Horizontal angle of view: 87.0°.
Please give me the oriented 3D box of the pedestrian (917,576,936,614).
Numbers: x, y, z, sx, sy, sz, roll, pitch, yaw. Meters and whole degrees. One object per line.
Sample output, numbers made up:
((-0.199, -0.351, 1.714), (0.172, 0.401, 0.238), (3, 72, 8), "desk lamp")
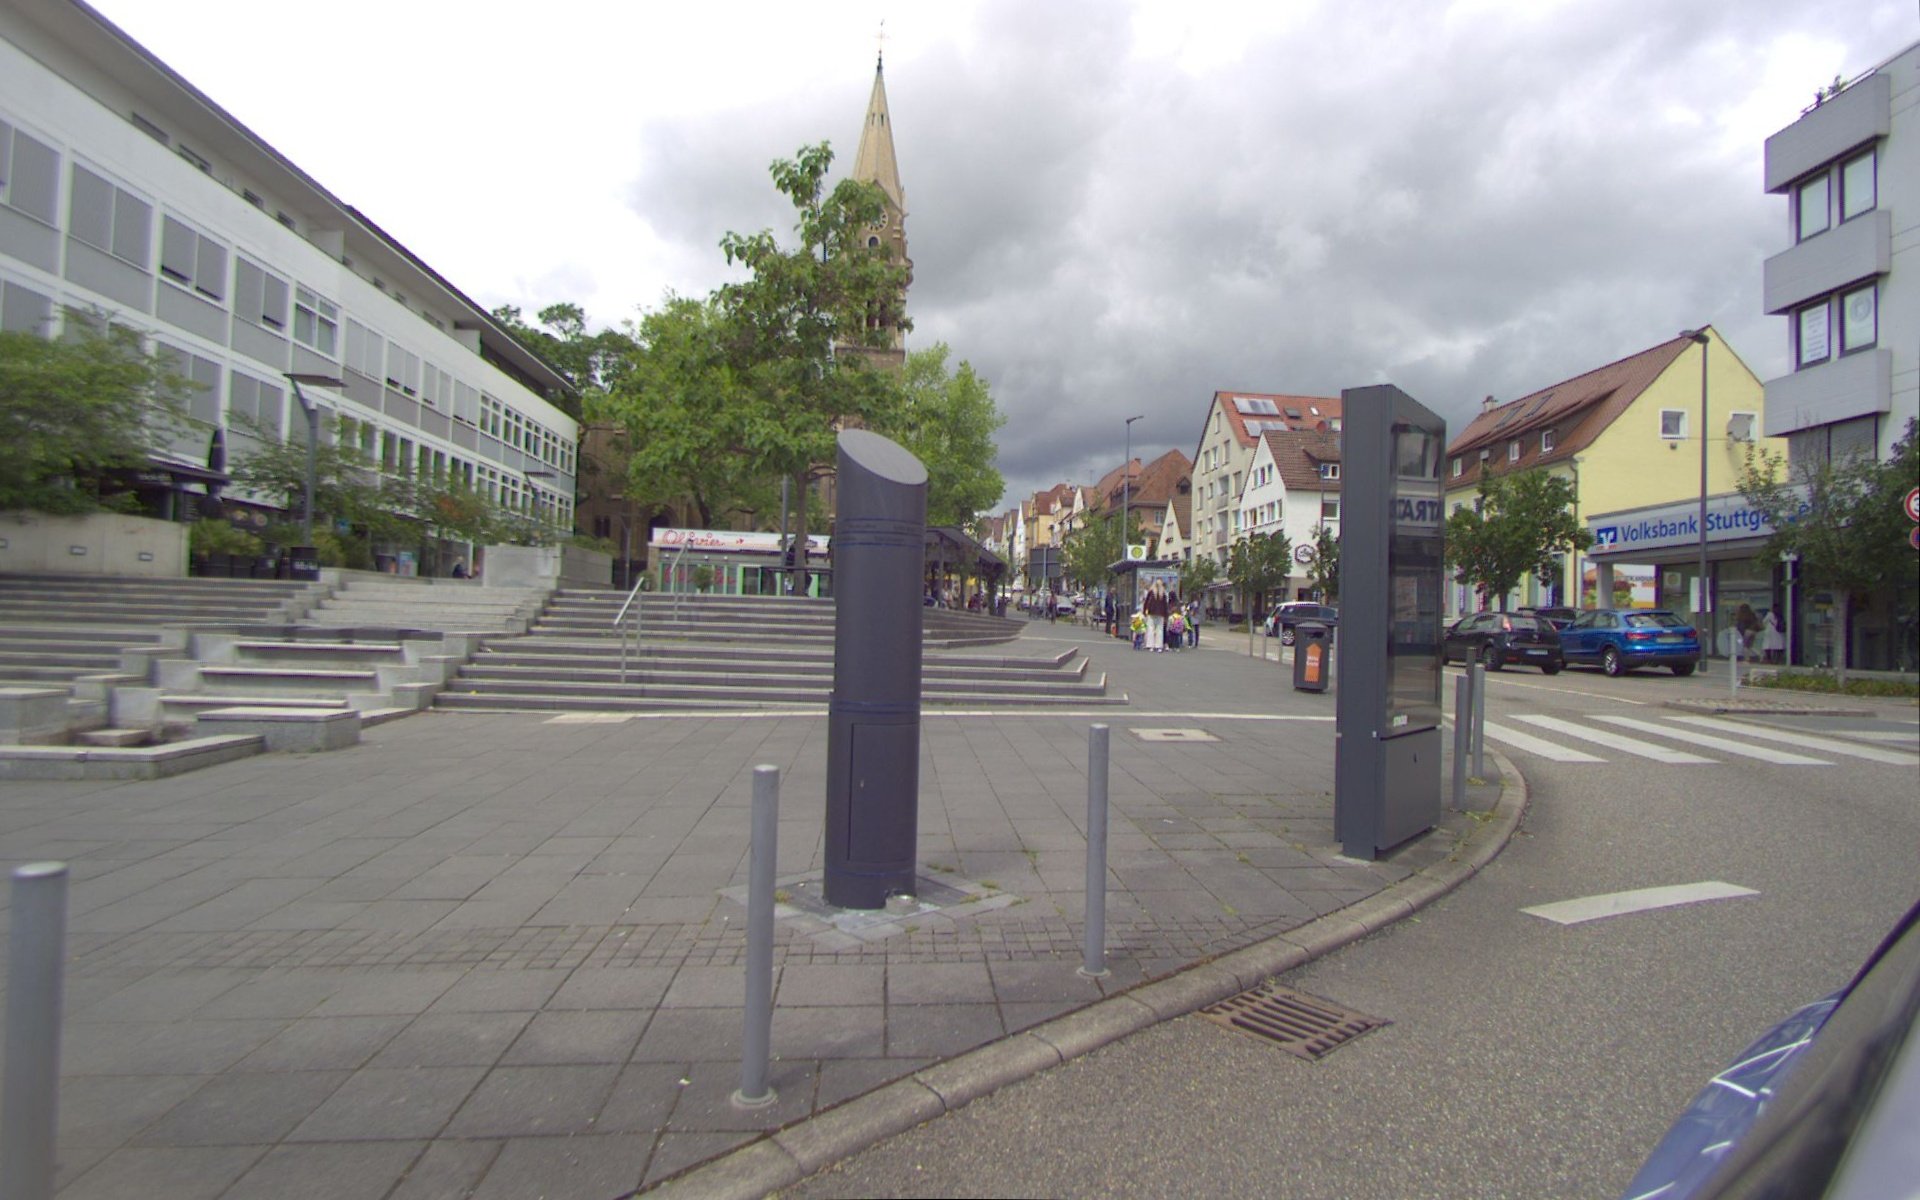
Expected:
((-1.173, -0.179, 35.796), (0.560, 1.340, 0.543), (1, -1, 11), "pedestrian")

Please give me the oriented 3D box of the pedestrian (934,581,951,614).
((-0.673, -0.105, 38.758), (0.560, 1.243, 0.564), (1, -1, 11), "pedestrian")

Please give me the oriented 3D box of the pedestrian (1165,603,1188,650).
((5.651, 0.677, 26.415), (0.471, 1.187, 0.388), (3, 0, 21), "pedestrian")

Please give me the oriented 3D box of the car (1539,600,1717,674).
((16.395, 0.841, 25.128), (1.669, 1.620, 4.327), (-1, 0, 3), "car")

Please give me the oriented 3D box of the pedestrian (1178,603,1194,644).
((6.619, 0.694, 29.689), (0.288, 1.166, 0.298), (4, -1, -44), "pedestrian")

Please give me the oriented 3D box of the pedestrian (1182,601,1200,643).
((6.864, 0.648, 30.055), (0.399, 1.242, 0.385), (2, -1, 23), "pedestrian")

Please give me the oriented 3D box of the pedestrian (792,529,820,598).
((-2.999, -0.710, 19.748), (0.358, 1.302, 0.640), (2, -1, 6), "pedestrian")

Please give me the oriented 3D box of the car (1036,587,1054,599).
((10.585, -0.882, 126.352), (1.698, 1.449, 3.508), (1, 2, -5), "car")

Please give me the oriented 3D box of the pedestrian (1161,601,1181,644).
((6.019, 0.647, 28.878), (0.329, 1.181, 0.352), (4, 1, -30), "pedestrian")

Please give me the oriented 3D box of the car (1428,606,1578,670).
((13.719, 0.909, 25.846), (1.672, 1.437, 4.117), (0, 0, 1), "car")

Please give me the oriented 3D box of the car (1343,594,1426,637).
((19.020, 0.667, 45.548), (1.728, 1.837, 4.478), (0, 0, -2), "car")

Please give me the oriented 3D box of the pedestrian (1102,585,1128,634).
((5.373, 0.313, 35.064), (0.789, 1.658, 0.683), (2, 0, 15), "pedestrian")

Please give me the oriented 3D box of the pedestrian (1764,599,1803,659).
((22.070, 0.769, 27.136), (0.502, 1.586, 0.586), (2, -1, 2), "pedestrian")

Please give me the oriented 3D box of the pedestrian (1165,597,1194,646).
((6.069, 0.595, 27.994), (0.424, 1.320, 0.600), (4, 0, -32), "pedestrian")

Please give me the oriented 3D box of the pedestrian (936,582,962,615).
((-0.424, -0.053, 39.629), (0.764, 1.285, 0.669), (0, -1, 29), "pedestrian")

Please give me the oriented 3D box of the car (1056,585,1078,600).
((11.903, -0.867, 113.106), (1.636, 1.545, 3.970), (0, 2, -6), "car")

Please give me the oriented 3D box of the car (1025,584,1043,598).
((9.810, -1.210, 133.847), (1.698, 1.700, 3.997), (1, 2, -5), "car")

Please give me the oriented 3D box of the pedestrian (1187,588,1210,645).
((6.936, 0.487, 29.473), (0.461, 1.640, 0.387), (4, -1, -43), "pedestrian")

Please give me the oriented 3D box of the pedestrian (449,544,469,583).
((-17.423, -1.253, 35.203), (0.557, 1.340, 0.546), (1, -1, -25), "pedestrian")

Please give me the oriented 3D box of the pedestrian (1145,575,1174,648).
((5.116, 0.292, 25.992), (0.531, 1.846, 0.436), (3, 0, -3), "pedestrian")

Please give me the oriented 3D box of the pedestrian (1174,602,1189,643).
((6.424, 0.647, 29.343), (0.259, 1.175, 0.271), (4, -1, -35), "pedestrian")

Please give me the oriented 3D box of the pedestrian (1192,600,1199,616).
((18.604, 0.624, 79.951), (0.414, 1.316, 0.454), (1, 0, -4), "pedestrian")

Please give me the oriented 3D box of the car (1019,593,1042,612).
((6.087, 0.222, 87.891), (1.492, 1.449, 3.508), (1, 2, -5), "car")

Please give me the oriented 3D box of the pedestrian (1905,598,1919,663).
((25.690, 0.825, 26.889), (0.632, 1.727, 0.587), (3, -3, -8), "pedestrian")

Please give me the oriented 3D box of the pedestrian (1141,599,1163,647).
((5.078, 0.604, 26.733), (0.387, 1.213, 0.506), (3, 0, 26), "pedestrian")

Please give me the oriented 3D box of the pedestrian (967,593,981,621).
((0.654, 0.349, 47.931), (0.560, 1.278, 0.540), (2, -3, 5), "pedestrian")

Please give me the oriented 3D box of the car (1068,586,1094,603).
((12.585, -0.565, 105.832), (1.696, 1.592, 4.462), (1, 2, -6), "car")

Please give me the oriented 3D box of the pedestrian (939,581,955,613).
((-0.550, -0.121, 43.001), (0.615, 1.324, 0.545), (2, -1, 5), "pedestrian")

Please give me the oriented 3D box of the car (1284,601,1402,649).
((14.210, 0.887, 37.590), (3.717, 1.543, 1.870), (2, 3, 39), "car")

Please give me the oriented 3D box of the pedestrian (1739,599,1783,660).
((21.249, 0.774, 26.847), (0.633, 1.586, 0.586), (2, -1, 0), "pedestrian")

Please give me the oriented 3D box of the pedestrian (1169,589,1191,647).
((5.885, 0.473, 27.087), (0.383, 1.536, 0.390), (3, 0, -9), "pedestrian")

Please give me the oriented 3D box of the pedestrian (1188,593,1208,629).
((11.460, 0.528, 48.711), (0.682, 1.703, 0.705), (1, -1, 35), "pedestrian")

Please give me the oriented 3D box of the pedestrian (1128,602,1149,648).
((4.583, 0.638, 25.996), (0.432, 1.163, 0.383), (3, 0, -1), "pedestrian")

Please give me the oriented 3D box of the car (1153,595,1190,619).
((15.220, 0.493, 72.927), (1.638, 1.667, 4.135), (0, 1, -2), "car")

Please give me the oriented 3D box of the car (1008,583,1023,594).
((8.278, -1.770, 151.712), (1.657, 1.543, 3.534), (2, 2, -5), "car")

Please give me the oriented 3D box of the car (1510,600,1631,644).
((23.107, 0.823, 38.395), (3.570, 1.578, 1.668), (1, 0, 0), "car")

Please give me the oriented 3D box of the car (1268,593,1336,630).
((16.453, 0.519, 48.853), (1.629, 1.693, 4.353), (0, 0, -3), "car")

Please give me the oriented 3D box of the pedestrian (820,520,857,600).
((-2.390, -0.775, 19.924), (0.452, 1.528, 0.497), (1, -2, 39), "pedestrian")
